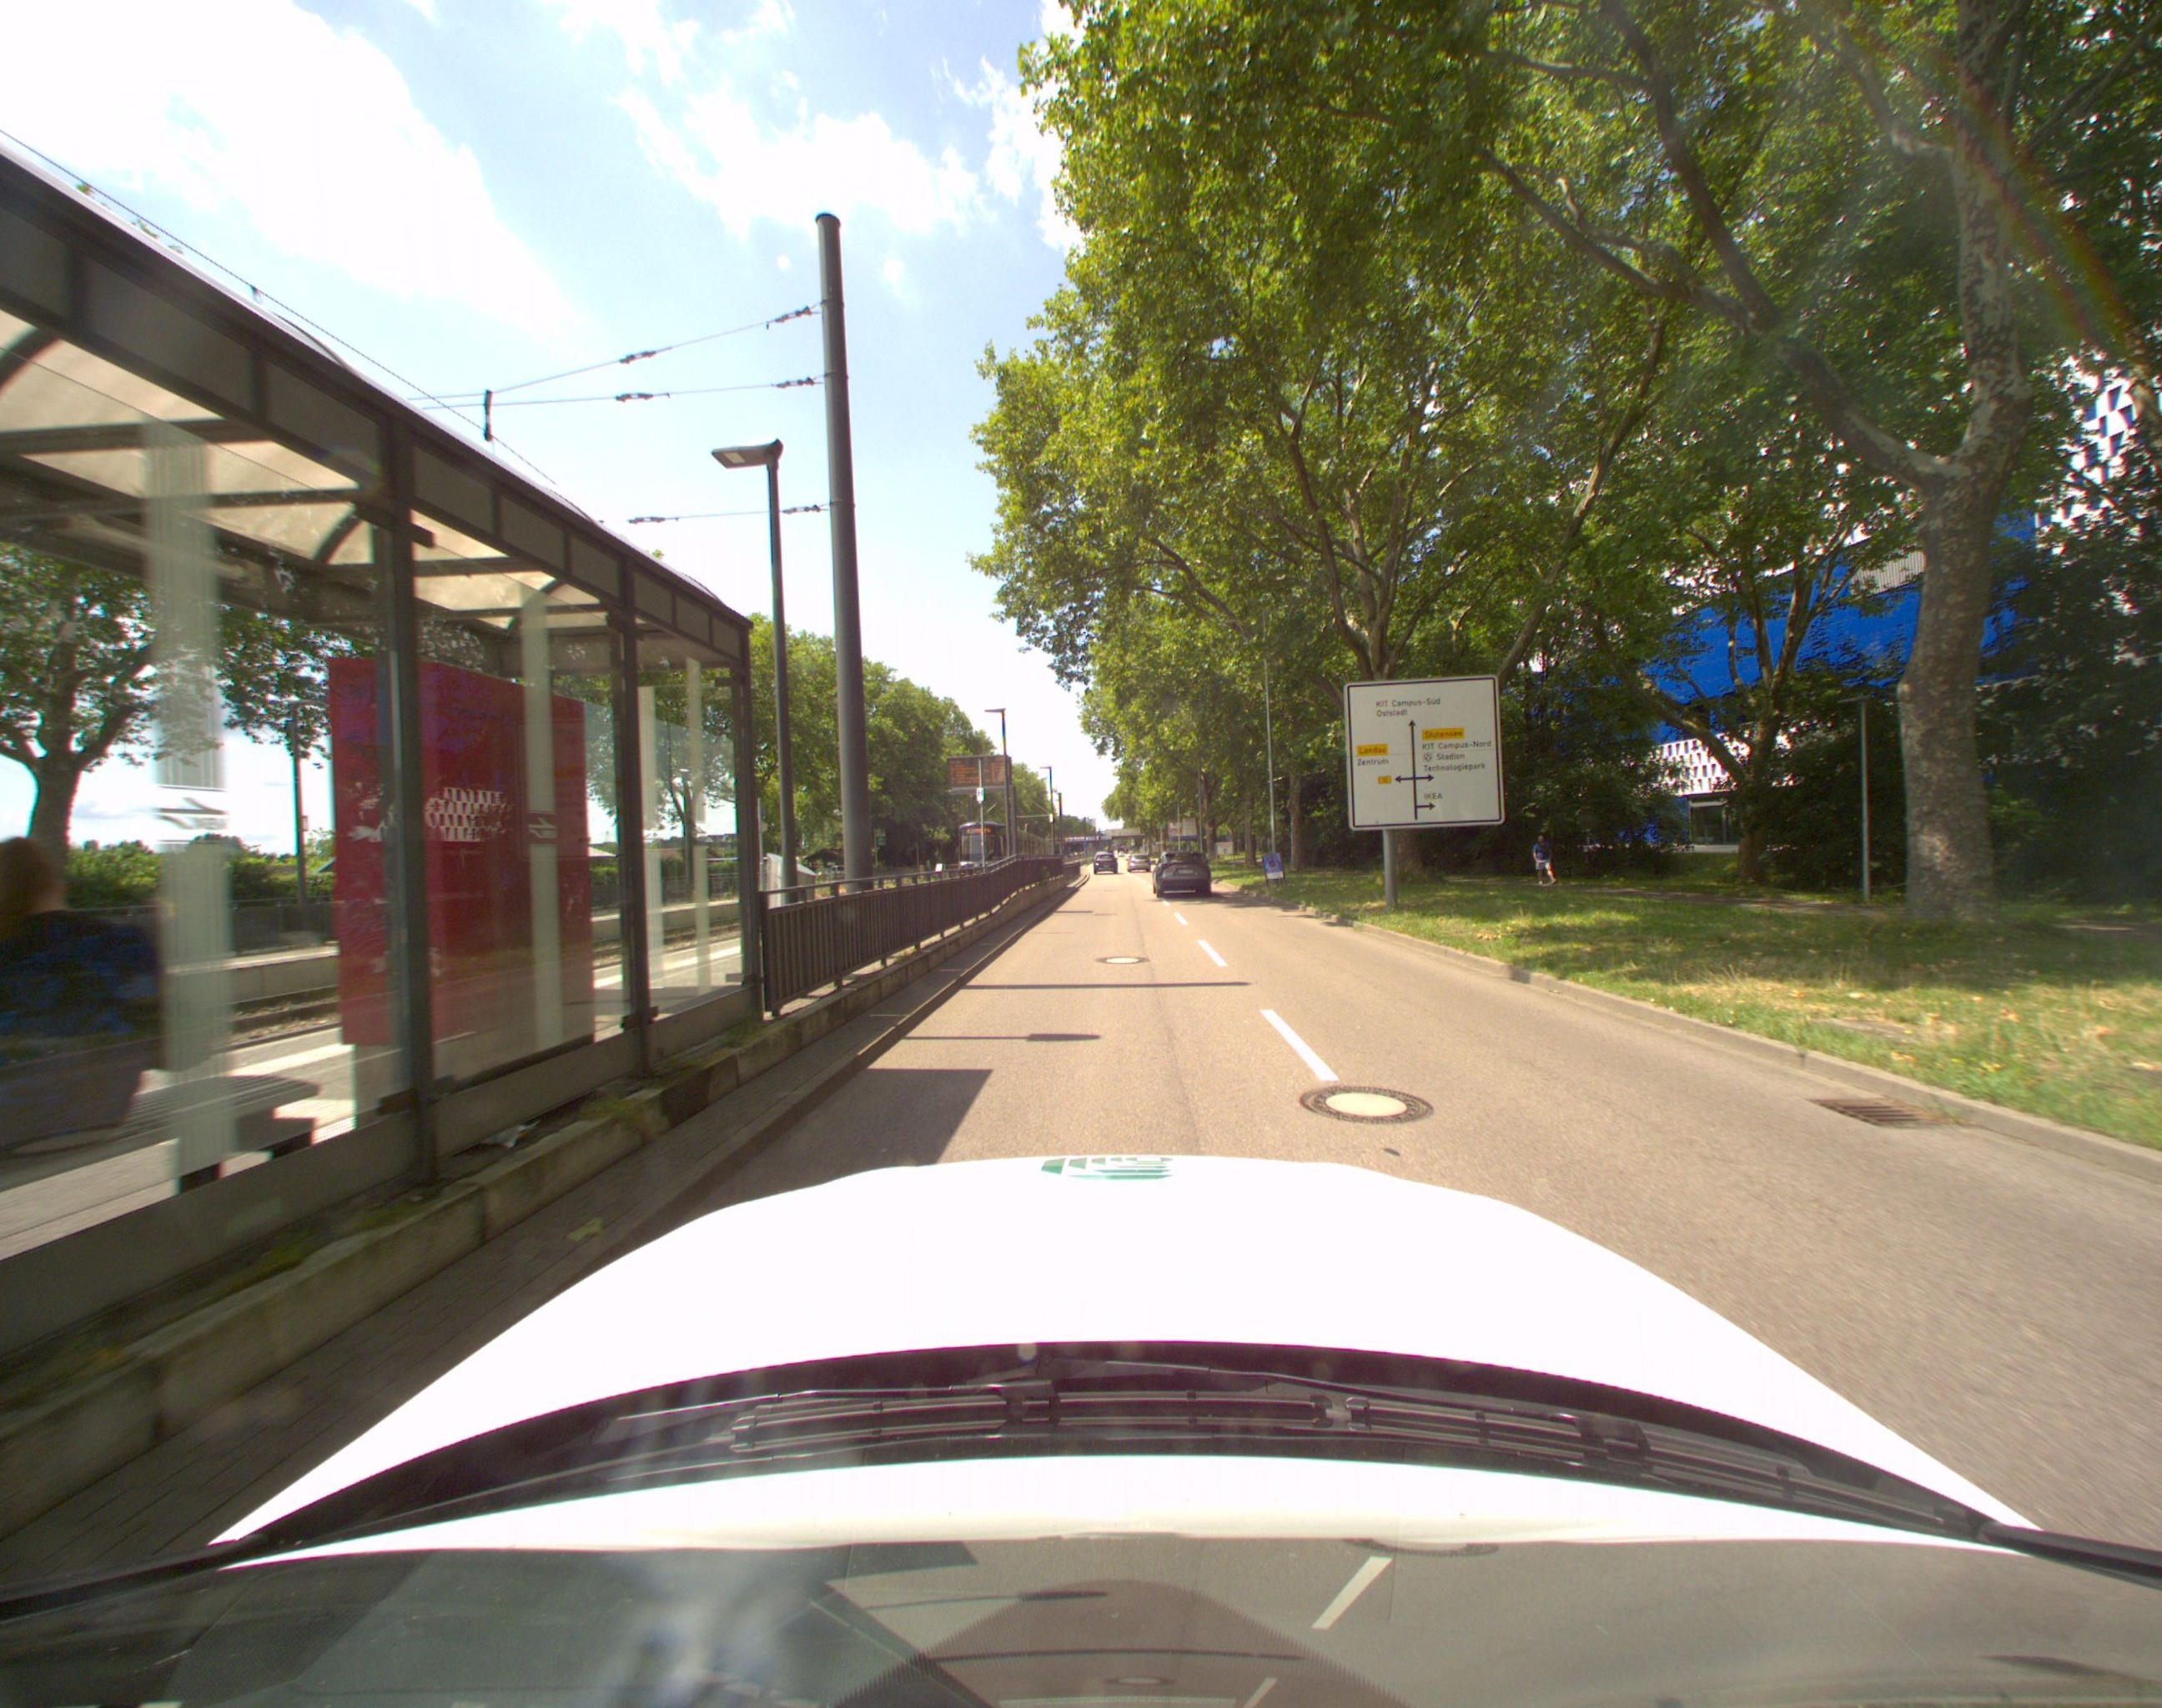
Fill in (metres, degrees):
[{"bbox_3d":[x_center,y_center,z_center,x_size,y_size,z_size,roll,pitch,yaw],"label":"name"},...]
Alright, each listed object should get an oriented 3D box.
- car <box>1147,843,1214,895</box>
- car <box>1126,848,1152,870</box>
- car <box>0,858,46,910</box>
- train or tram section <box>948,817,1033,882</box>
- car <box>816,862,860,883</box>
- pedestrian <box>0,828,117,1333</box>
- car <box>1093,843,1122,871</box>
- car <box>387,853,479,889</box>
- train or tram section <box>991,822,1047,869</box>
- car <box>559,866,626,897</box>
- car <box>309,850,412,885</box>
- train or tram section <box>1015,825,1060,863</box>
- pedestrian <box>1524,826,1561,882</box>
[{"bbox_3d":[3.466,0.536,29.115,1.891,1.675,4.520,-2,-1,1],"label":"car"},{"bbox_3d":[4.632,0.413,65.433,1.825,1.630,4.297,-2,0,1],"label":"car"},{"bbox_3d":[-37.327,1.043,26.935,3.897,1.661,1.912,-1,1,4],"label":"car"},{"bbox_3d":[-5.011,-0.268,48.539,3.026,3.186,14.105,-2,0,1],"label":"train or tram section"},{"bbox_3d":[-24.539,1.849,82.307,3.988,1.859,1.993,-2,1,-11],"label":"car"},{"bbox_3d":[-2.944,0.567,2.013,0.496,1.252,0.468,-2,1,-1],"label":"pedestrian"},{"bbox_3d":[2.055,0.196,61.469,1.984,1.989,4.368,-1,0,4],"label":"car"},{"bbox_3d":[-34.125,0.863,43.013,1.807,1.683,3.641,-2,1,2],"label":"car"},{"bbox_3d":[-4.527,-0.620,61.708,3.025,3.186,9.453,-2,0,3],"label":"train or tram section"},{"bbox_3d":[-30.122,1.659,50.302,1.807,1.683,3.640,-2,1,1],"label":"car"},{"bbox_3d":[-38.704,0.677,43.868,1.896,1.661,3.930,-2,1,2],"label":"car"},{"bbox_3d":[-3.874,-0.877,74.612,3.025,3.186,9.453,-2,0,3],"label":"train or tram section"},{"bbox_3d":[16.930,-0.003,29.904,0.833,2.013,0.957,0,0,1],"label":"pedestrian"}]
